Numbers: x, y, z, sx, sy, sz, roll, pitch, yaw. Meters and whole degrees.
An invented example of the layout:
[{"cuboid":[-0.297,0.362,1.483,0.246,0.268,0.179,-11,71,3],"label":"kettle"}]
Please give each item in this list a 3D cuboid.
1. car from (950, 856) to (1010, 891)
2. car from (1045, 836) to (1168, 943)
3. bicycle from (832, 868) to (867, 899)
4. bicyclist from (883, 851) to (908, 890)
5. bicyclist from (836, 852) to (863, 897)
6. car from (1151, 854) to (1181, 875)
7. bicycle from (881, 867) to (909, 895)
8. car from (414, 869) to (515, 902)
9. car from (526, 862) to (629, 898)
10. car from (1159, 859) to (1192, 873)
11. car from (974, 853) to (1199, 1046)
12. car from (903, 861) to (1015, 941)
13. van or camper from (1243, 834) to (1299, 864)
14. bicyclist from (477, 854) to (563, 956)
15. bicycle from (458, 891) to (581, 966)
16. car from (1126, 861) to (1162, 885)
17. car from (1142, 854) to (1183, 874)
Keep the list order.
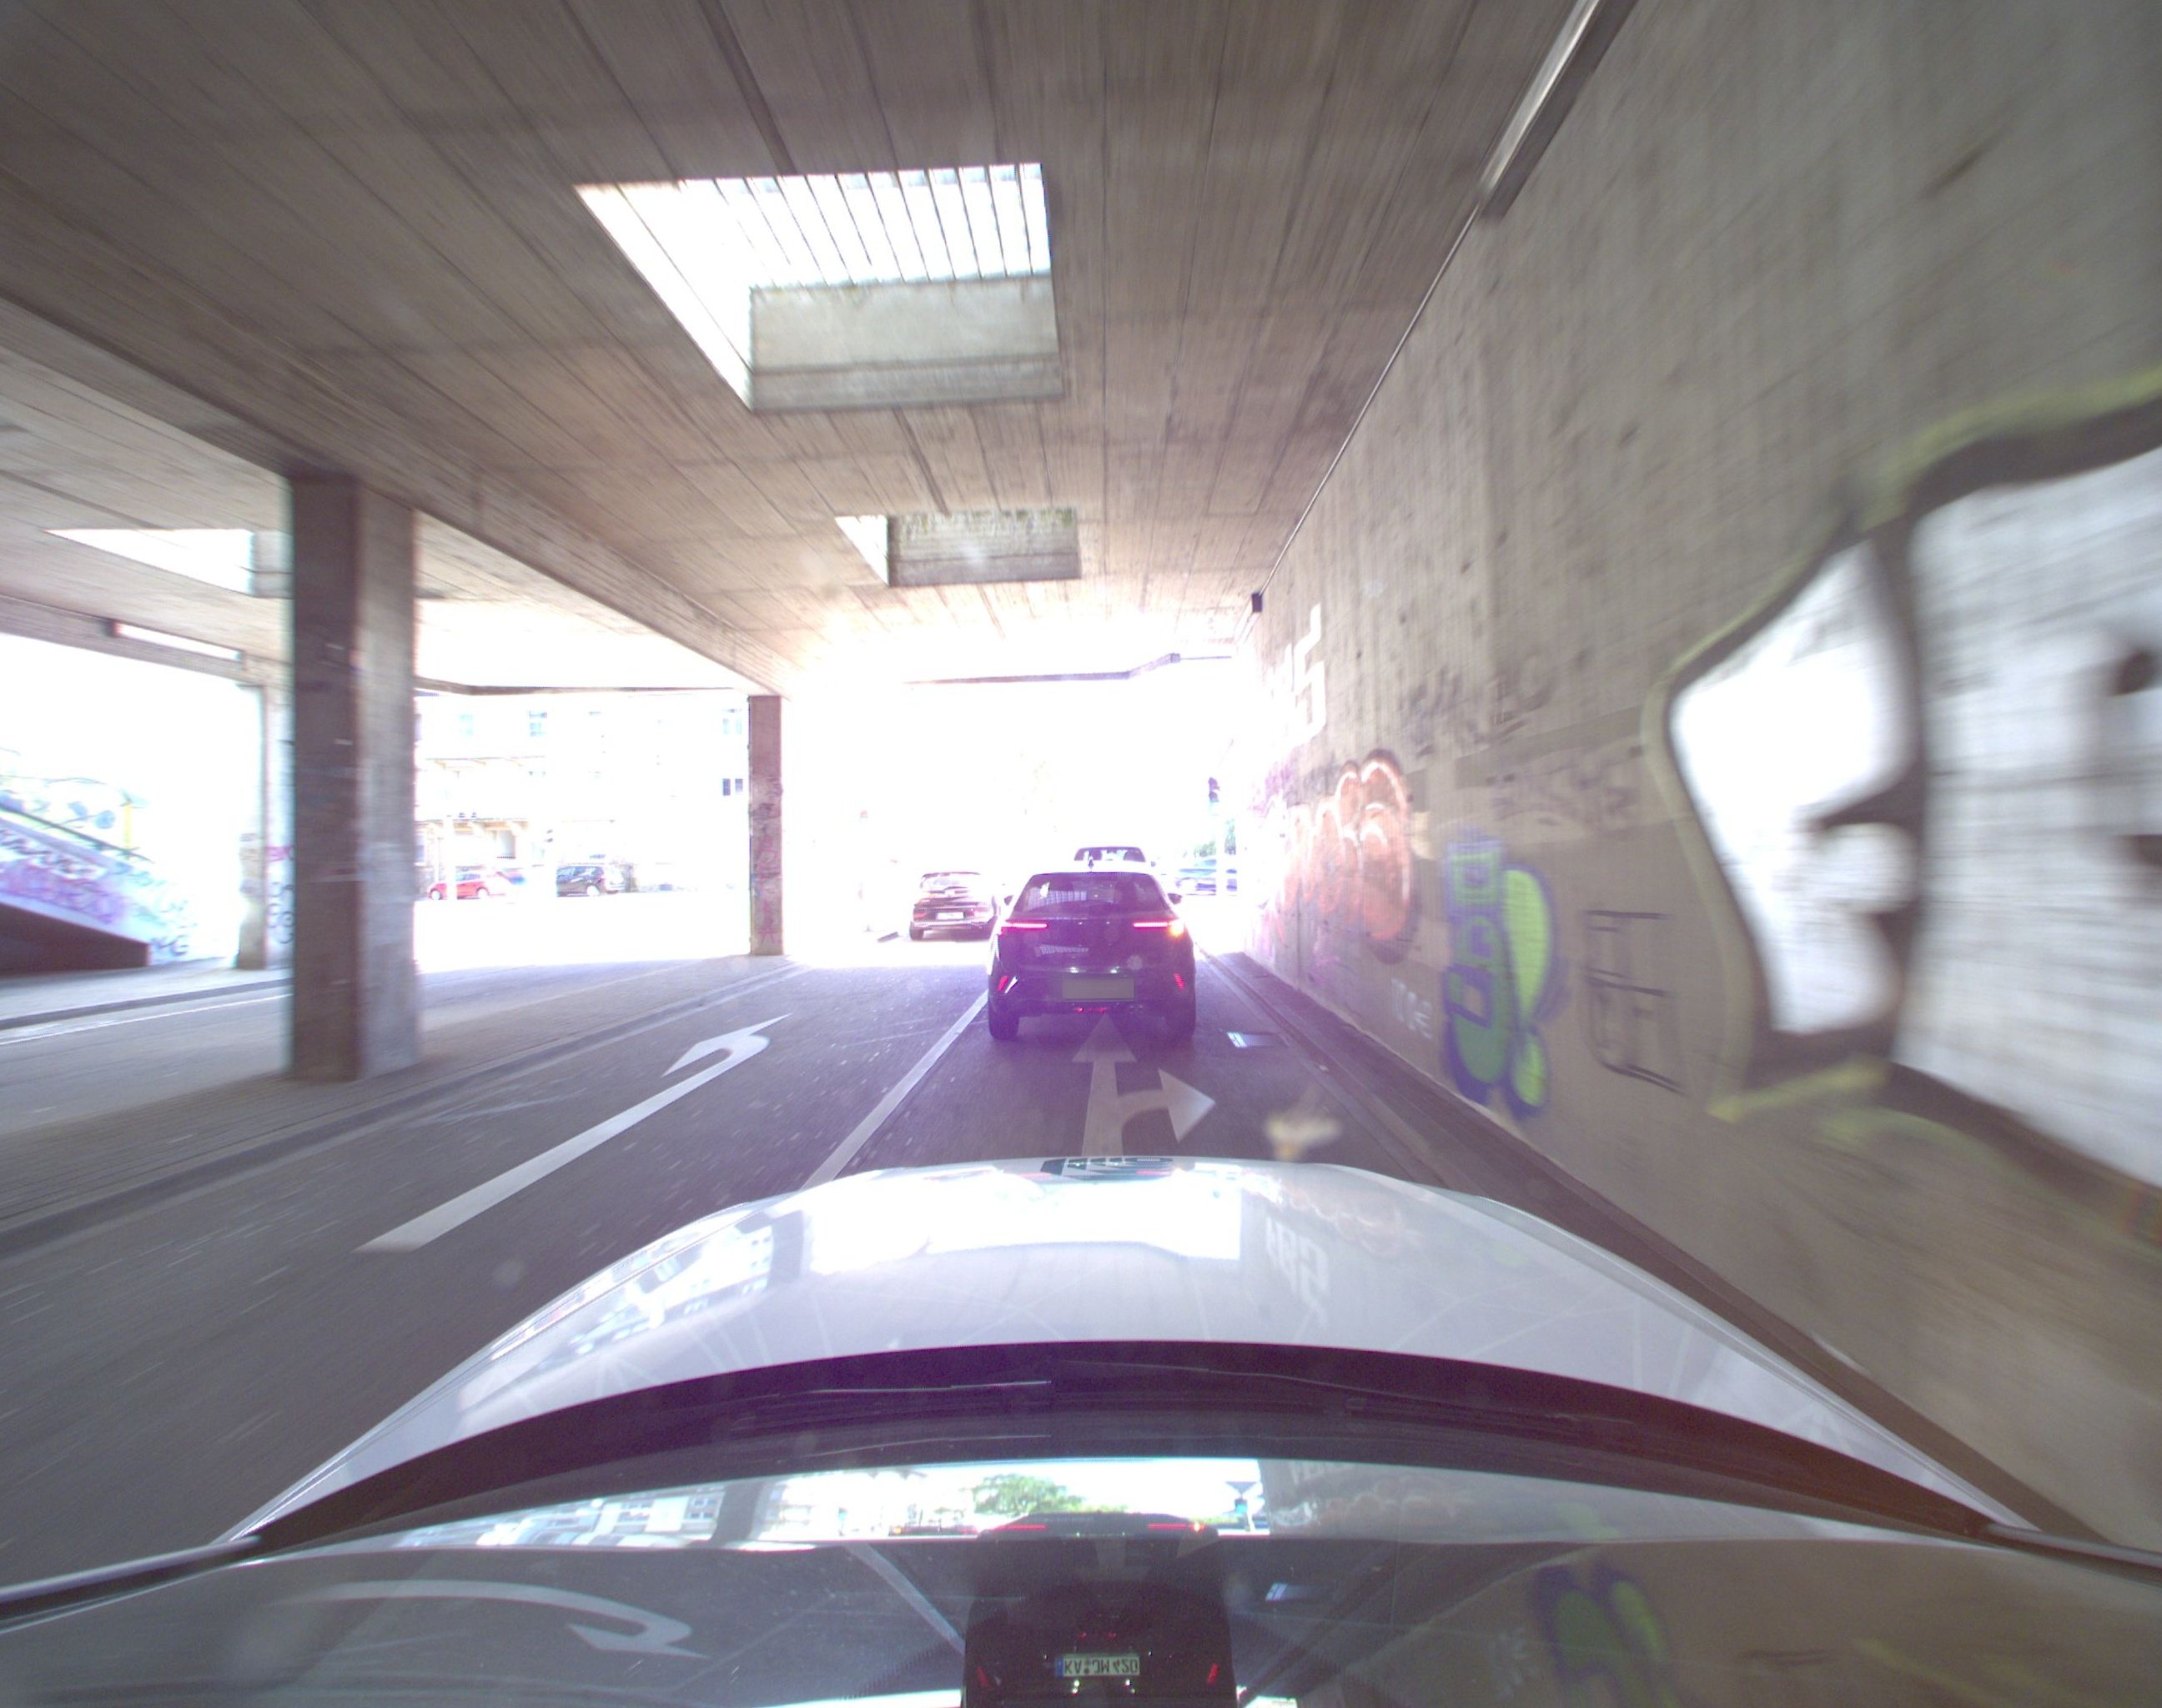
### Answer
[{"cuboid":[-4.347,0.817,35.482,1.647,1.441,3.472,-1,0,10],"label":"car"},{"cuboid":[0.577,0.640,16.751,2.124,1.835,4.944,-1,0,3],"label":"car"},{"cuboid":[-8.670,1.103,30.576,0.522,1.090,1.864,-1,0,8],"label":"bicycle"},{"cuboid":[-8.007,0.706,35.189,0.778,1.660,1.032,-1,-1,4],"label":"bicyclist"},{"cuboid":[-8.677,0.763,30.562,0.602,1.632,0.912,-1,-1,8],"label":"bicyclist"},{"cuboid":[6.806,0.842,64.967,1.692,1.512,3.878,-3,-1,15],"label":"car"},{"cuboid":[-7.995,1.135,35.099,0.539,1.123,2.061,-1,0,4],"label":"bicycle"},{"cuboid":[-32.305,1.646,42.760,3.862,1.540,1.901,-1,1,3],"label":"car"},{"cuboid":[-26.439,1.364,42.870,4.143,1.724,1.964,-1,1,3],"label":"car"},{"cuboid":[15.166,1.910,130.370,4.903,2.083,1.971,-1,-1,-22],"label":"car"},{"cuboid":[0.134,0.770,8.339,1.774,1.517,3.758,-1,0,3],"label":"car"},{"cuboid":[-2.505,0.911,17.681,1.796,1.451,4.324,-2,0,-1],"label":"car"},{"cuboid":[21.619,-0.547,92.830,6.038,2.929,2.584,-4,-2,12],"label":"van or camper"},{"cuboid":[-9.838,0.871,14.324,0.742,1.711,0.969,-1,1,5],"label":"bicyclist"},{"cuboid":[-9.828,1.277,14.345,0.694,1.090,1.863,-1,2,6],"label":"bicycle"},{"cuboid":[4.273,1.258,54.907,1.695,1.452,3.866,-1,0,15],"label":"car"},{"cuboid":[11.264,1.417,112.952,5.265,2.546,1.977,-1,-1,-12],"label":"car"}]
